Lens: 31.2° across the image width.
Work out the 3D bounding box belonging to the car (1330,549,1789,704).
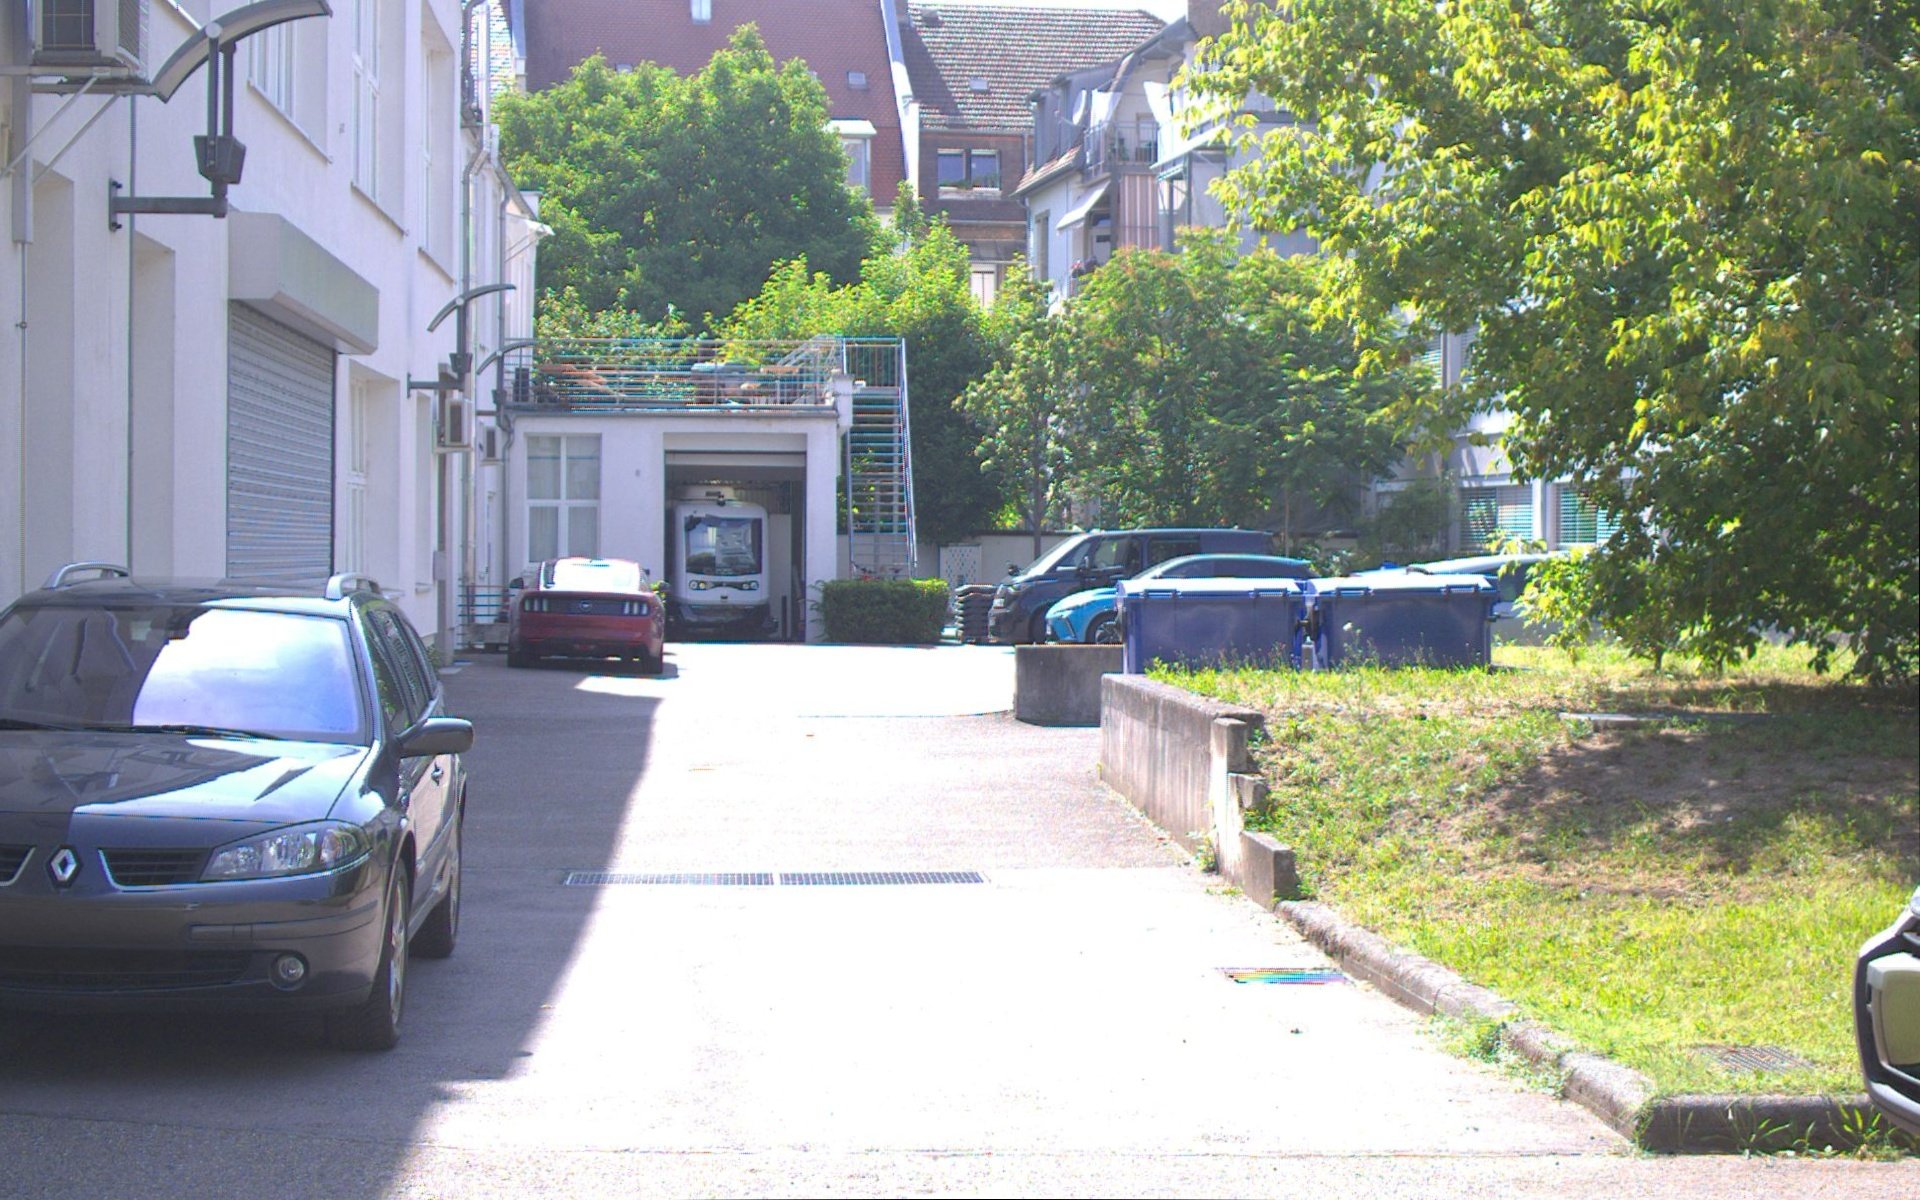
[{"bbox_3d":[5.714,0.231,33.027,3.986,1.422,1.812,0,1,-6],"label":"car"}]

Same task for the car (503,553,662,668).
[{"bbox_3d":[-4.718,0.102,43.422,1.851,1.315,4.001,2,1,-5],"label":"car"}]

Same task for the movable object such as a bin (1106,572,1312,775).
[{"bbox_3d":[1.679,0.494,23.427,1.247,1.315,1.142,-2,-1,-2],"label":"movable object such as a bin"}]

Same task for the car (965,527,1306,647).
[{"bbox_3d":[2.752,-0.235,54.149,4.950,1.761,2.097,-1,2,-16],"label":"car"}]

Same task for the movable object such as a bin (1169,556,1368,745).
[{"bbox_3d":[2.253,0.351,25.252,1.247,1.350,1.129,0,1,-7],"label":"movable object such as a bin"}]

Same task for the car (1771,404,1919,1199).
[{"bbox_3d":[4.654,0.543,7.951,5.023,1.926,2.000,1,1,-2],"label":"car"}]

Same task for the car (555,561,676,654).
[{"bbox_3d":[-5.015,0.083,50.421,1.614,1.291,3.759,0,1,-4],"label":"car"}]

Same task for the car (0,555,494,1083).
[{"bbox_3d":[-2.688,0.625,11.842,1.836,1.437,4.430,3,-1,-4],"label":"car"}]

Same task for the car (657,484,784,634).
[{"bbox_3d":[-4.382,-0.745,63.299,2.174,2.598,6.735,-1,0,-4],"label":"car"}]

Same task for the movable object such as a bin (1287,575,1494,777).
[{"bbox_3d":[2.924,0.504,23.484,1.247,1.336,1.142,0,1,-1],"label":"movable object such as a bin"}]

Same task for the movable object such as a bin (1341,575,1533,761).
[{"bbox_3d":[3.519,0.489,25.458,1.155,1.332,1.142,0,1,-7],"label":"movable object such as a bin"}]

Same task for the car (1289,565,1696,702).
[{"bbox_3d":[5.603,0.335,36.458,3.986,1.389,1.689,0,1,-4],"label":"car"}]

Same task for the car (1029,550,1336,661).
[{"bbox_3d":[3.262,0.062,50.926,4.228,1.527,2.001,-1,2,-7],"label":"car"}]
